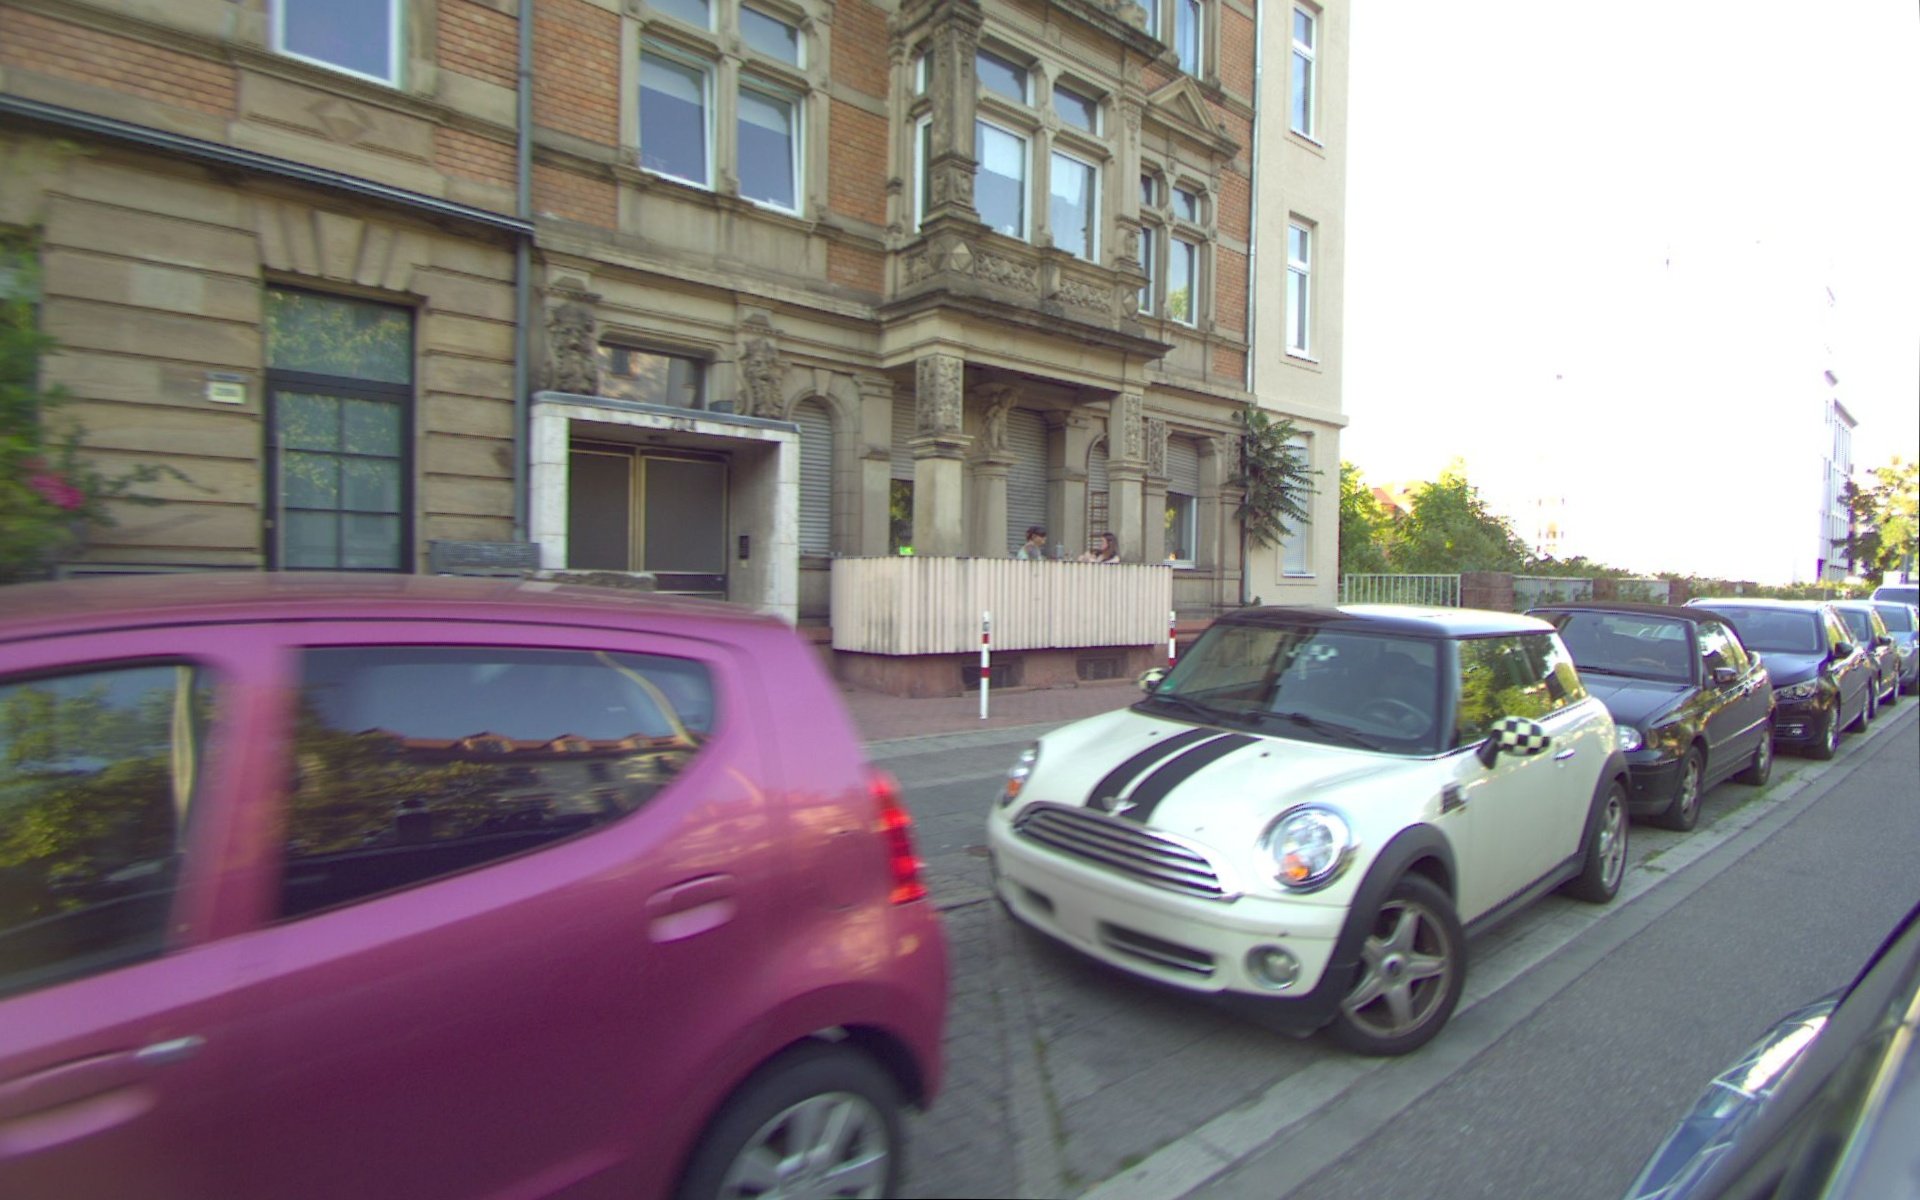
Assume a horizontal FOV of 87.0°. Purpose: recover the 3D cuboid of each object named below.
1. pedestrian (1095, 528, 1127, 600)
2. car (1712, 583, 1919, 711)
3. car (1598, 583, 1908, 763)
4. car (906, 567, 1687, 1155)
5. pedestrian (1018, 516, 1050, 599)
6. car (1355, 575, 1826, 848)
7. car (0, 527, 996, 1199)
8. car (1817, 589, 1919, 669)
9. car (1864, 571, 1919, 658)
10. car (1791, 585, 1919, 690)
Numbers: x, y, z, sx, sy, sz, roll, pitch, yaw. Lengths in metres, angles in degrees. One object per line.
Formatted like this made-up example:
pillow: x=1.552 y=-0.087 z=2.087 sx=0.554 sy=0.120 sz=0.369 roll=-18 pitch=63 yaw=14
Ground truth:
pedestrian: x=1.893 y=-0.449 z=12.707 sx=0.313 sy=0.881 sz=0.310 roll=-1 pitch=-1 yaw=-8
car: x=12.087 y=0.544 z=14.144 sx=3.774 sy=1.443 sz=1.750 roll=0 pitch=5 yaw=-42
car: x=8.808 y=0.620 z=11.097 sx=4.388 sy=1.465 sz=1.891 roll=-1 pitch=5 yaw=-42
car: x=1.706 y=0.647 z=4.463 sx=3.615 sy=1.443 sz=1.680 roll=-1 pitch=5 yaw=-43
pedestrian: x=0.946 y=-0.541 z=12.971 sx=0.313 sy=1.042 sz=0.404 roll=-1 pitch=-1 yaw=-8
car: x=5.055 y=0.603 z=7.868 sx=4.267 sy=1.443 sz=1.892 roll=0 pitch=5 yaw=-41
car: x=-1.832 y=0.634 z=1.774 sx=3.483 sy=1.482 sz=1.731 roll=0 pitch=4 yaw=-40
car: x=19.401 y=0.533 z=21.029 sx=4.563 sy=1.401 sz=1.732 roll=0 pitch=5 yaw=-42
car: x=23.858 y=0.343 z=24.666 sx=5.087 sy=1.941 sz=1.893 roll=0 pitch=4 yaw=-40
car: x=15.728 y=0.561 z=17.373 sx=3.827 sy=1.505 sz=1.703 roll=-1 pitch=5 yaw=-43
